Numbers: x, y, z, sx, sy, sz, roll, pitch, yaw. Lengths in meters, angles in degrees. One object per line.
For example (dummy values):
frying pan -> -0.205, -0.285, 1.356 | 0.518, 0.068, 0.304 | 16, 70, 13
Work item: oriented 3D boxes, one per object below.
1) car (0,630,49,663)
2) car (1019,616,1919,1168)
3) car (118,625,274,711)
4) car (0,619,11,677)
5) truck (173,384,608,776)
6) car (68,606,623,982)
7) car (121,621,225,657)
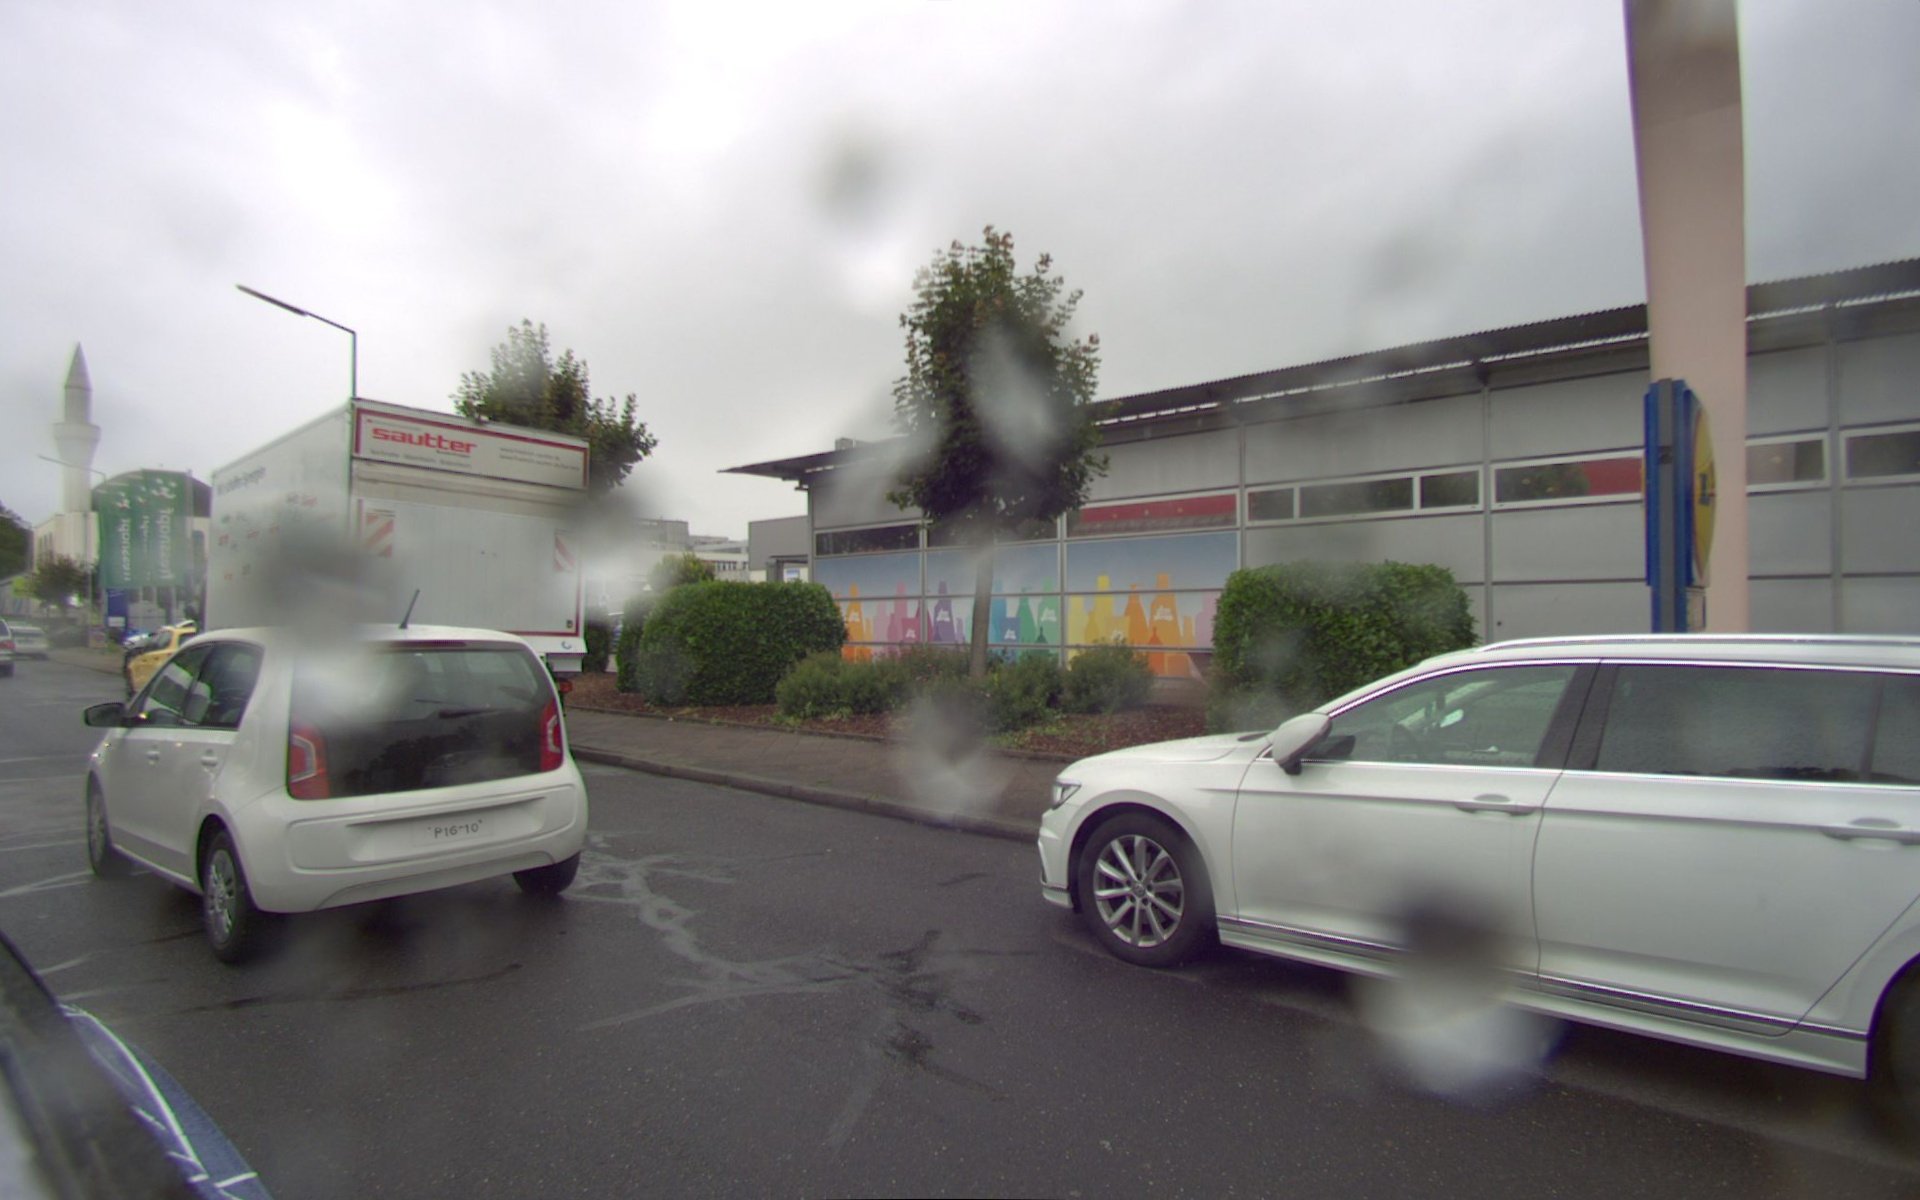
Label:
car -> -41.448, 2.020, 44.533 | 3.609, 1.351, 1.559 | -2, -2, 41
car -> 2.533, 0.812, 3.910 | 4.491, 1.445, 1.816 | -2, -3, 43
car -> -14.551, 1.222, 19.221 | 3.511, 1.477, 1.670 | -2, -2, 41
car -> -28.710, 1.377, 29.133 | 3.609, 1.610, 1.670 | -2, -2, 41
truck -> -7.939, -0.106, 13.486 | 7.868, 3.775, 2.850 | -2, -2, 43
car -> -3.539, 0.804, 5.630 | 3.404, 1.449, 1.595 | -1, -3, 40
car -> -36.925, 1.784, 47.541 | 1.691, 1.610, 3.564 | -1, -2, 38
